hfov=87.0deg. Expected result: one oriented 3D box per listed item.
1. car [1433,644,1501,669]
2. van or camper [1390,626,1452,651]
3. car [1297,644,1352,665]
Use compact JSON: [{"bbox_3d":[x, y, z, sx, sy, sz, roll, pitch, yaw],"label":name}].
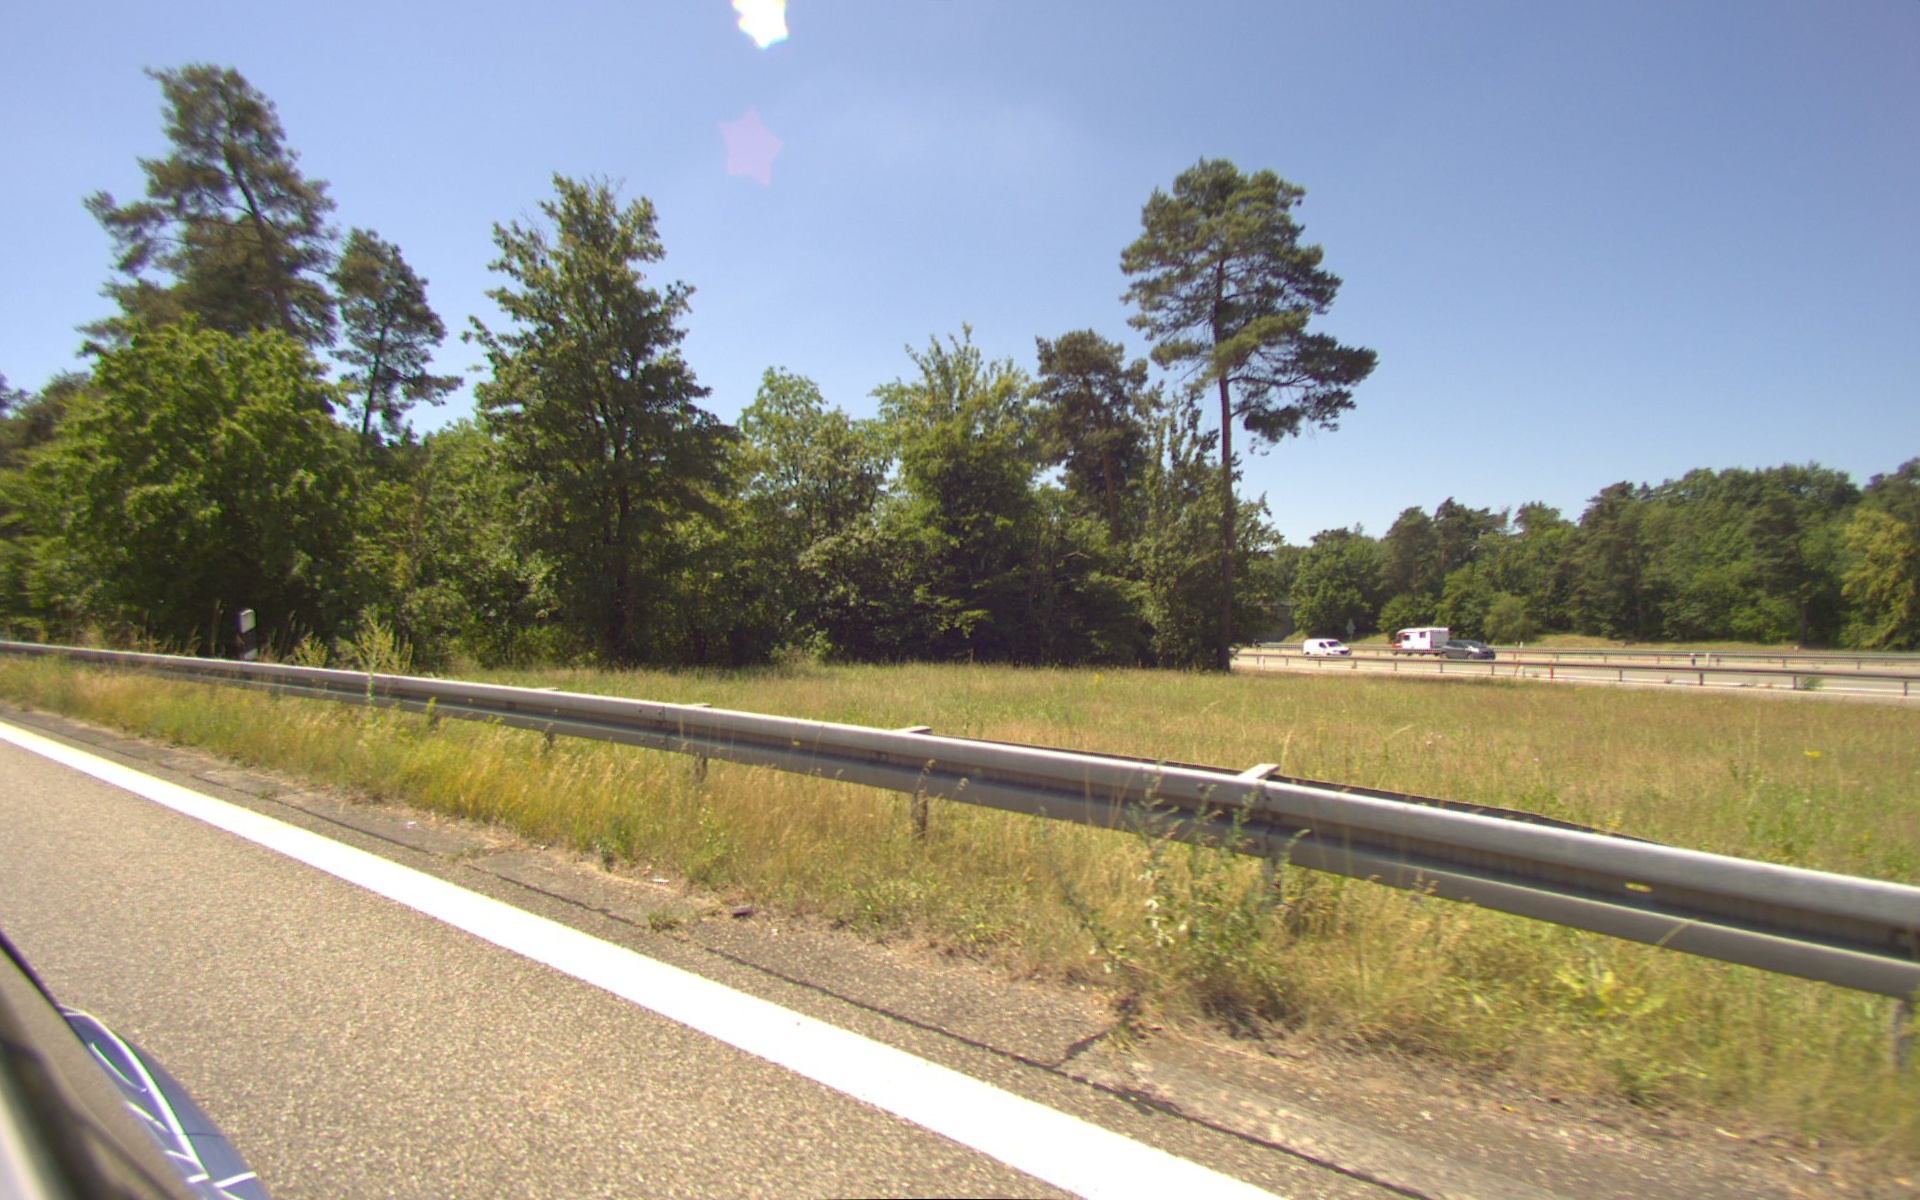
[{"bbox_3d":[38.616,4.263,77.190,1.747,1.697,4.839,-1,-1,-16],"label":"car"},{"bbox_3d":[45.567,3.794,100.167,2.211,2.394,5.845,2,-3,-19],"label":"van or camper"},{"bbox_3d":[31.383,4.686,87.341,1.747,1.767,5.034,-1,-2,-16],"label":"car"}]
